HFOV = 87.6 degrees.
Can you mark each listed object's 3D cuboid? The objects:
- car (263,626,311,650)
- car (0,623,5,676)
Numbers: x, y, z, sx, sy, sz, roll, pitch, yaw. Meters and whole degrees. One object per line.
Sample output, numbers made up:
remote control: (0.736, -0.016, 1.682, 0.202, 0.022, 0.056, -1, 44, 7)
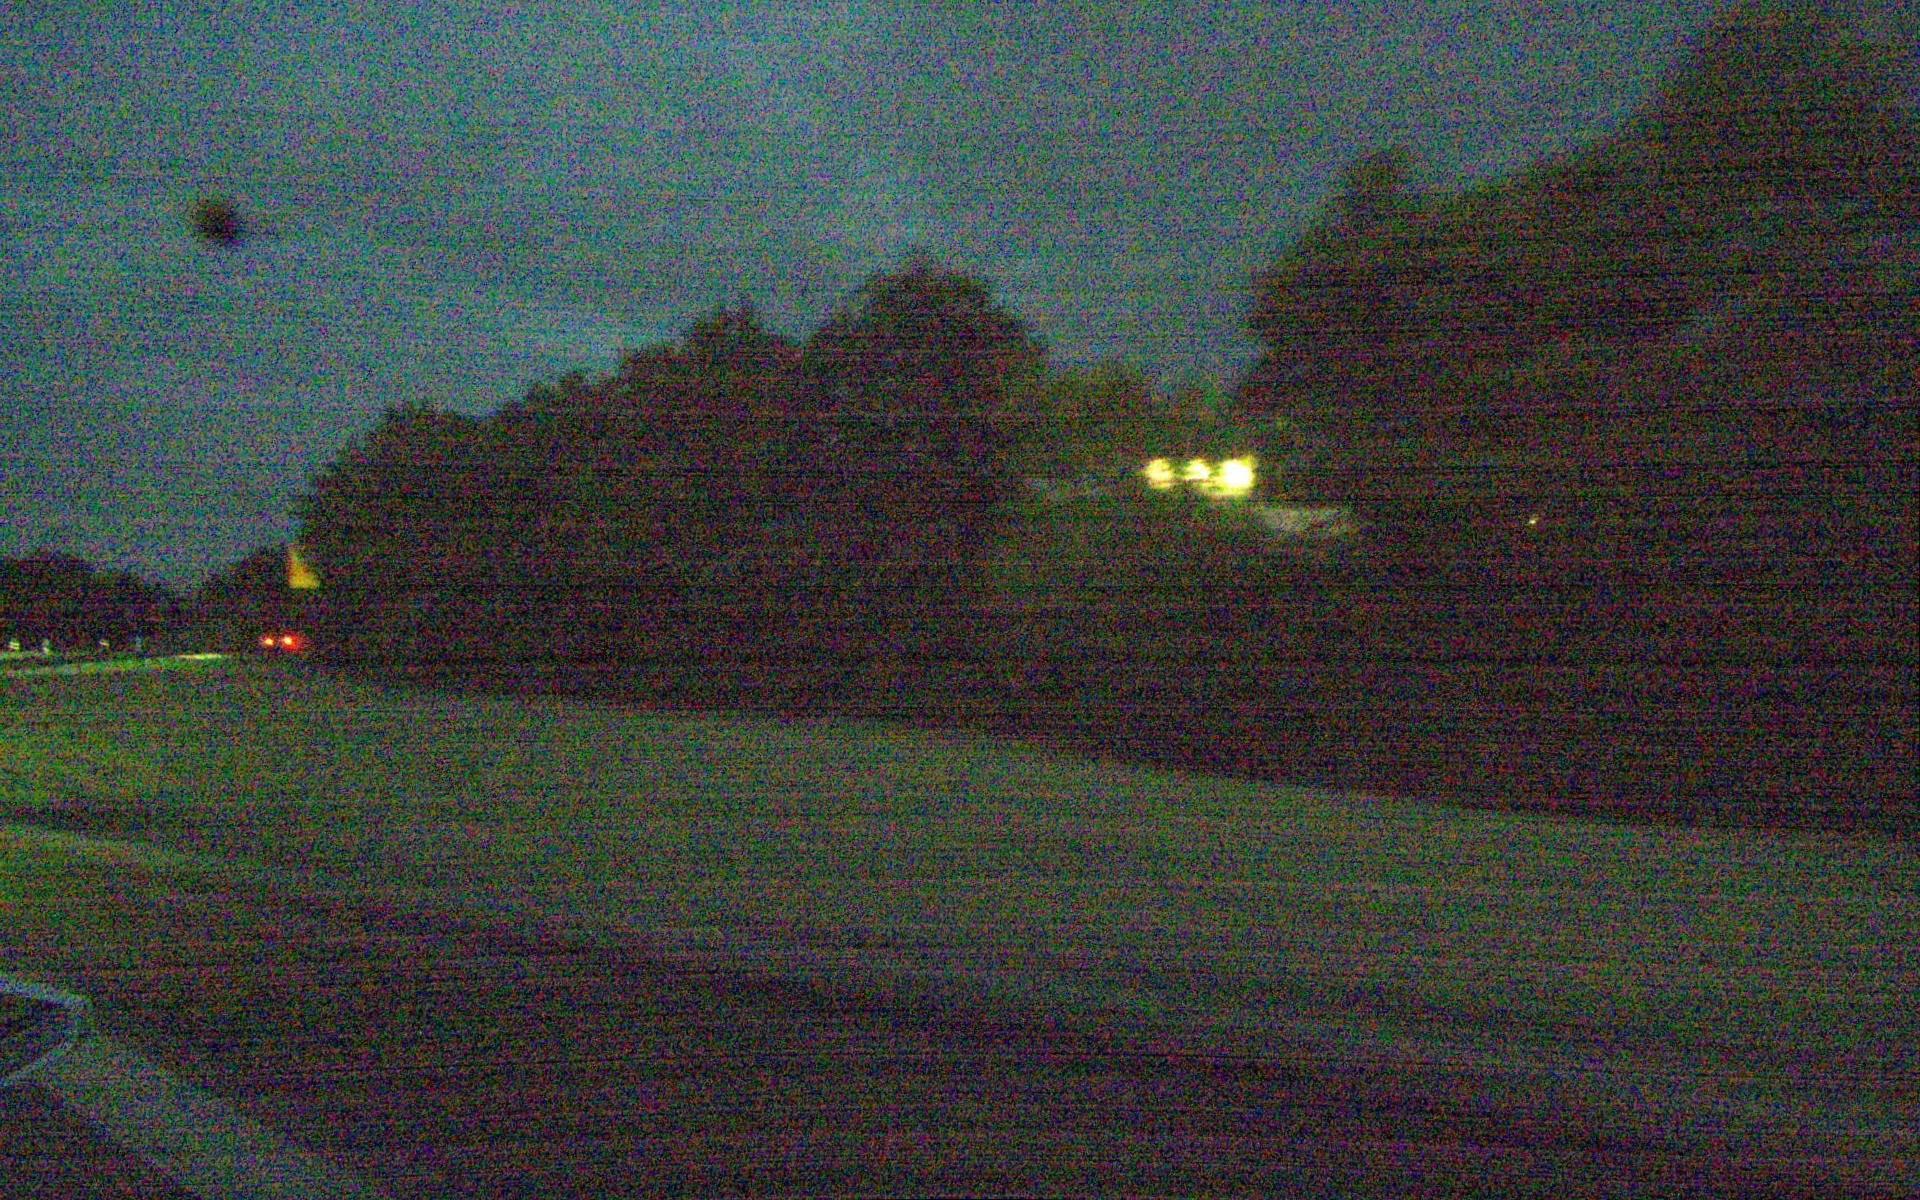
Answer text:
car: (-48.824, 2.748, 72.707, 1.967, 1.619, 3.990, 1, -1, -21)
car: (-30.888, 1.539, 30.235, 1.972, 1.680, 4.292, 1, -2, -30)
